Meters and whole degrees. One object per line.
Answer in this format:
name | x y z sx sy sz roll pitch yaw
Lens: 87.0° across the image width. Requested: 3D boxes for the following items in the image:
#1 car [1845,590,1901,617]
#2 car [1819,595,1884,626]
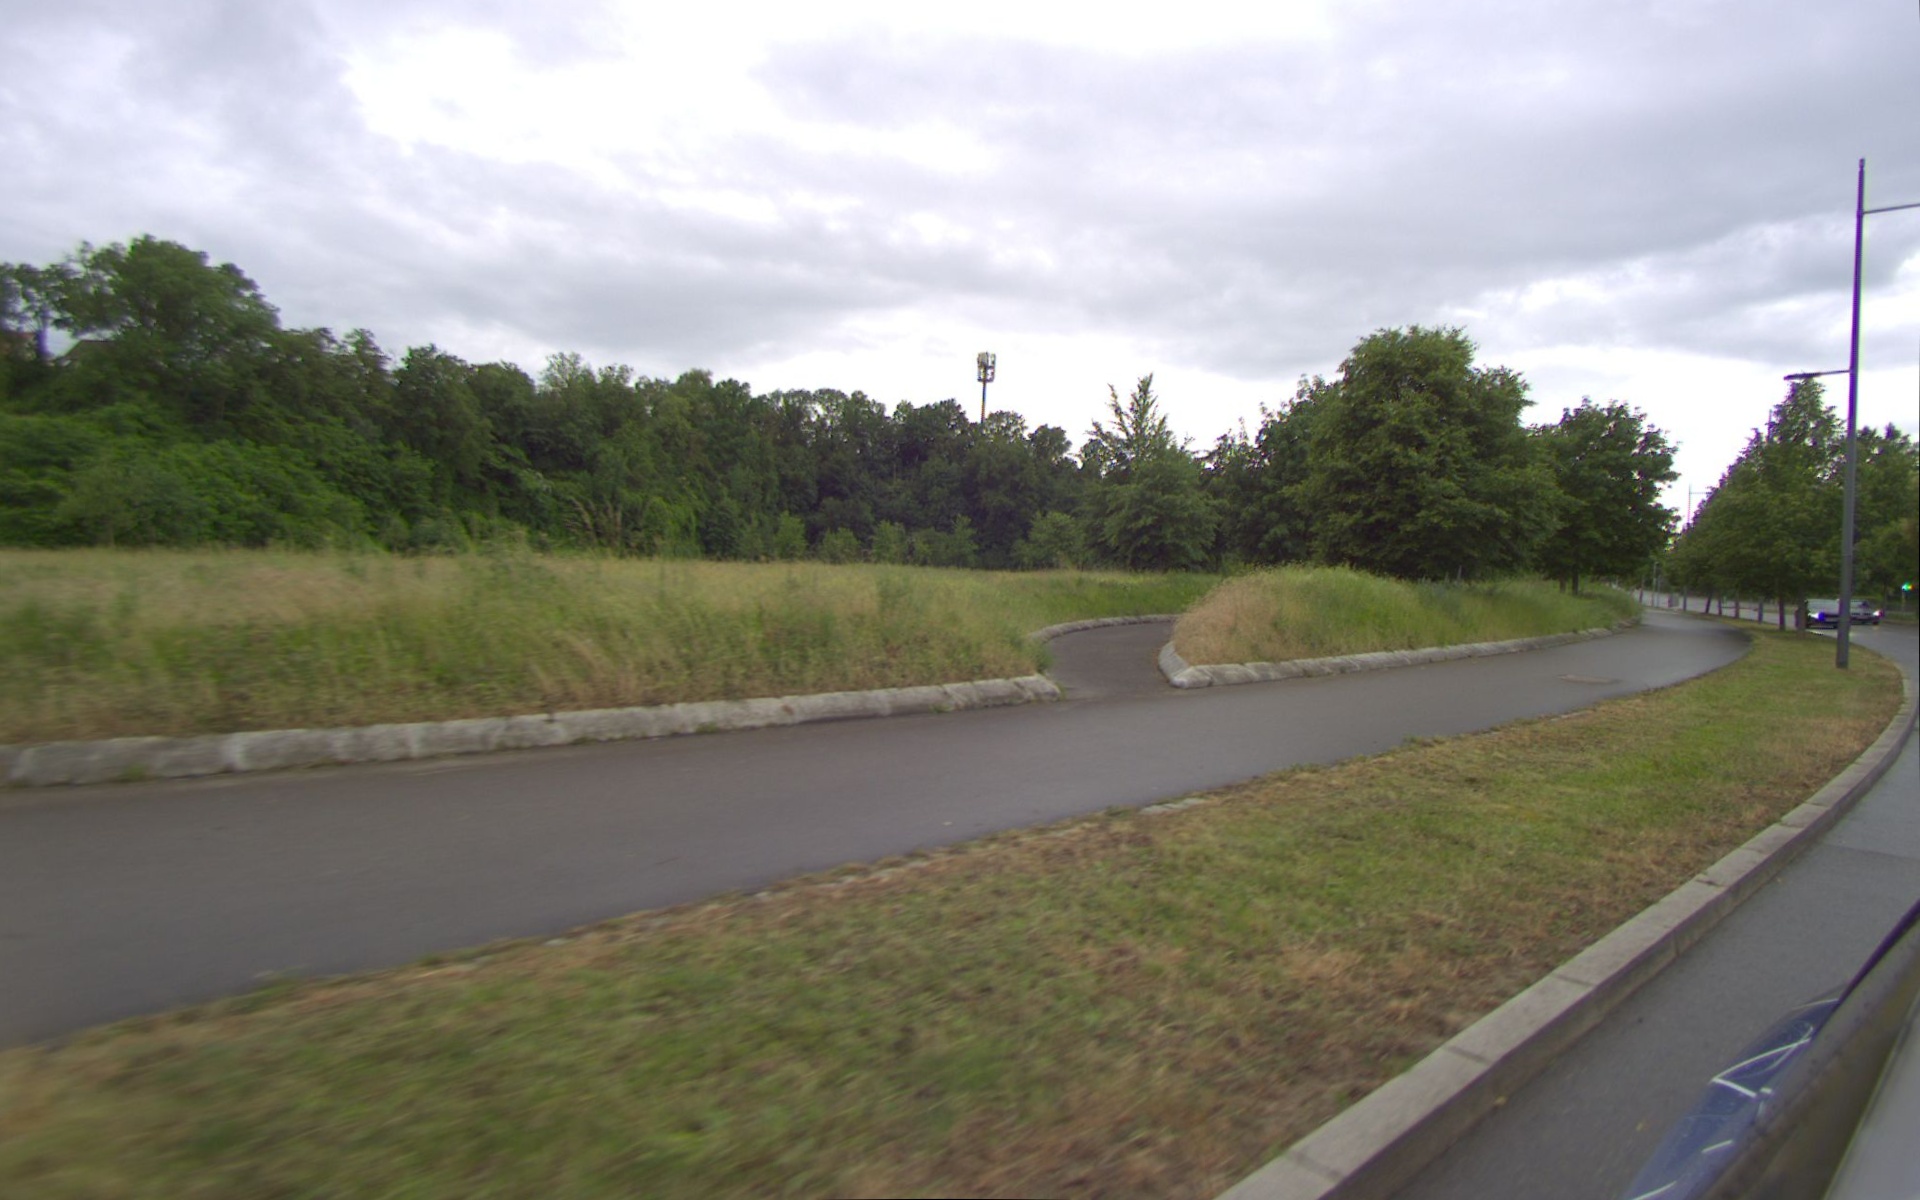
car | 52.411 0.189 58.147 1.799 1.447 4.146 1 1 34
car | 44.053 0.526 50.087 1.979 1.417 4.122 2 0 36
